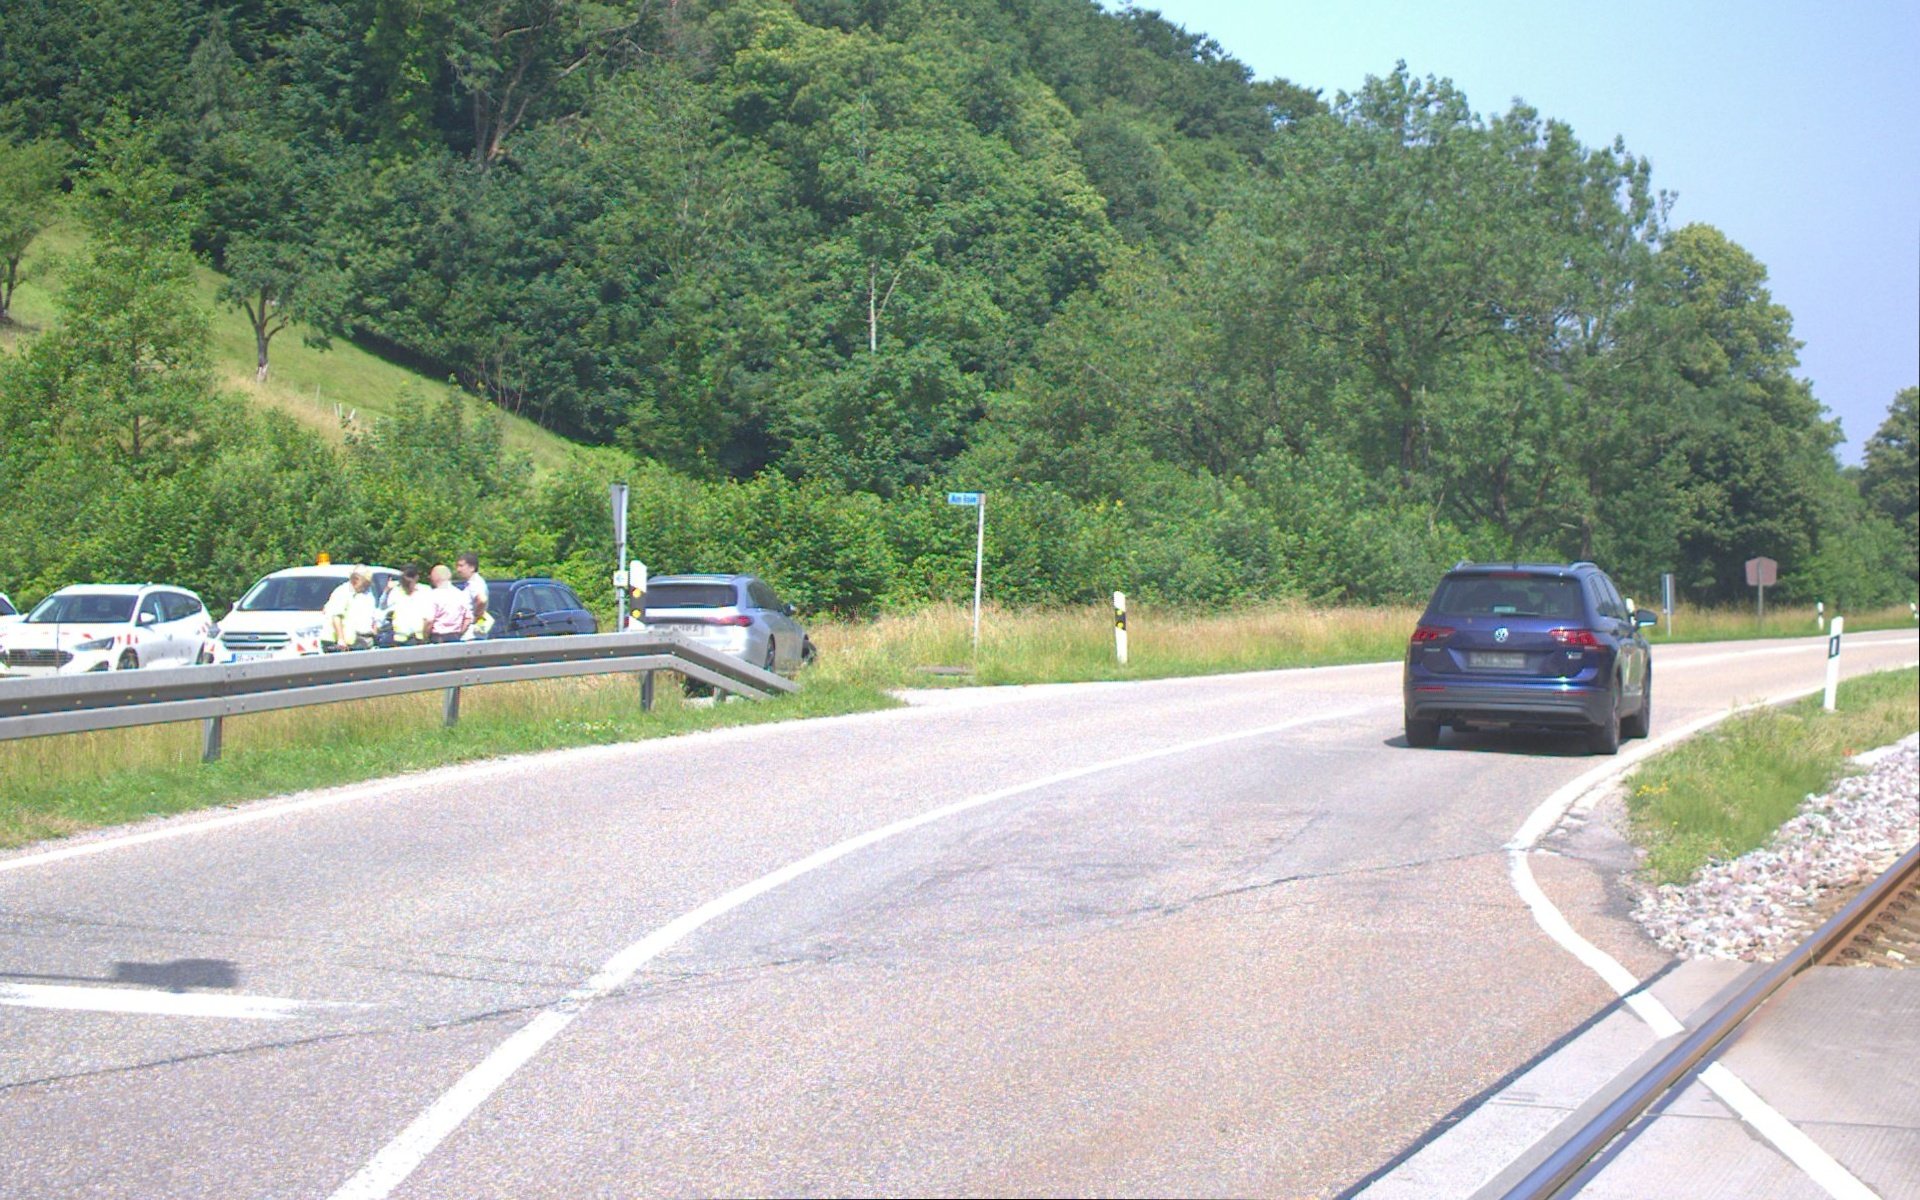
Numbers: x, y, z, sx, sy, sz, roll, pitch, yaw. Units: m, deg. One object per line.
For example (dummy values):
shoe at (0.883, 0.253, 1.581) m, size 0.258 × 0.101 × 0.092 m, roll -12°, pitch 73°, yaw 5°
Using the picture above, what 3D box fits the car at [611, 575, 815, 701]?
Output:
car at (-3.041, 0.445, 43.205) m, size 1.826 × 1.495 × 4.276 m, roll 0°, pitch 0°, yaw 6°

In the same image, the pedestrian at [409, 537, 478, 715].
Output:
pedestrian at (-5.719, 0.282, 38.109) m, size 0.660 × 1.948 × 0.533 m, roll -1°, pitch 0°, yaw 0°

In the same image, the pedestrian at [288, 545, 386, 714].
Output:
pedestrian at (-6.846, 0.322, 37.805) m, size 0.788 × 1.836 × 0.698 m, roll -1°, pitch 0°, yaw 21°

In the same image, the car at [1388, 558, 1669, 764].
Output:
car at (5.146, 0.488, 30.707) m, size 1.854 × 1.643 × 4.136 m, roll 2°, pitch 1°, yaw 18°

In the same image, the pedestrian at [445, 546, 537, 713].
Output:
pedestrian at (-5.268, 0.327, 38.622) m, size 0.648 × 1.852 × 0.769 m, roll -1°, pitch 0°, yaw 43°

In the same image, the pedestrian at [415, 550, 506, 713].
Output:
pedestrian at (-5.694, 0.359, 39.191) m, size 0.648 × 1.834 × 0.769 m, roll -1°, pitch 0°, yaw 43°

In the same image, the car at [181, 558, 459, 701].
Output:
car at (-8.393, 0.360, 45.546) m, size 1.872 × 1.776 × 4.769 m, roll 1°, pitch 0°, yaw 13°

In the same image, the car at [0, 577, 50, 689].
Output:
car at (-13.941, 0.455, 45.708) m, size 1.994 × 1.495 × 4.520 m, roll 0°, pitch 0°, yaw 7°

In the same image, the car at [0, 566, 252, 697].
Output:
car at (-11.253, 0.395, 45.562) m, size 1.994 × 1.636 × 4.900 m, roll 0°, pitch 0°, yaw 10°

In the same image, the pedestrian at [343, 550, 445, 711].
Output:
pedestrian at (-6.359, 0.338, 38.626) m, size 0.770 × 1.790 × 0.792 m, roll -1°, pitch 0°, yaw 37°
